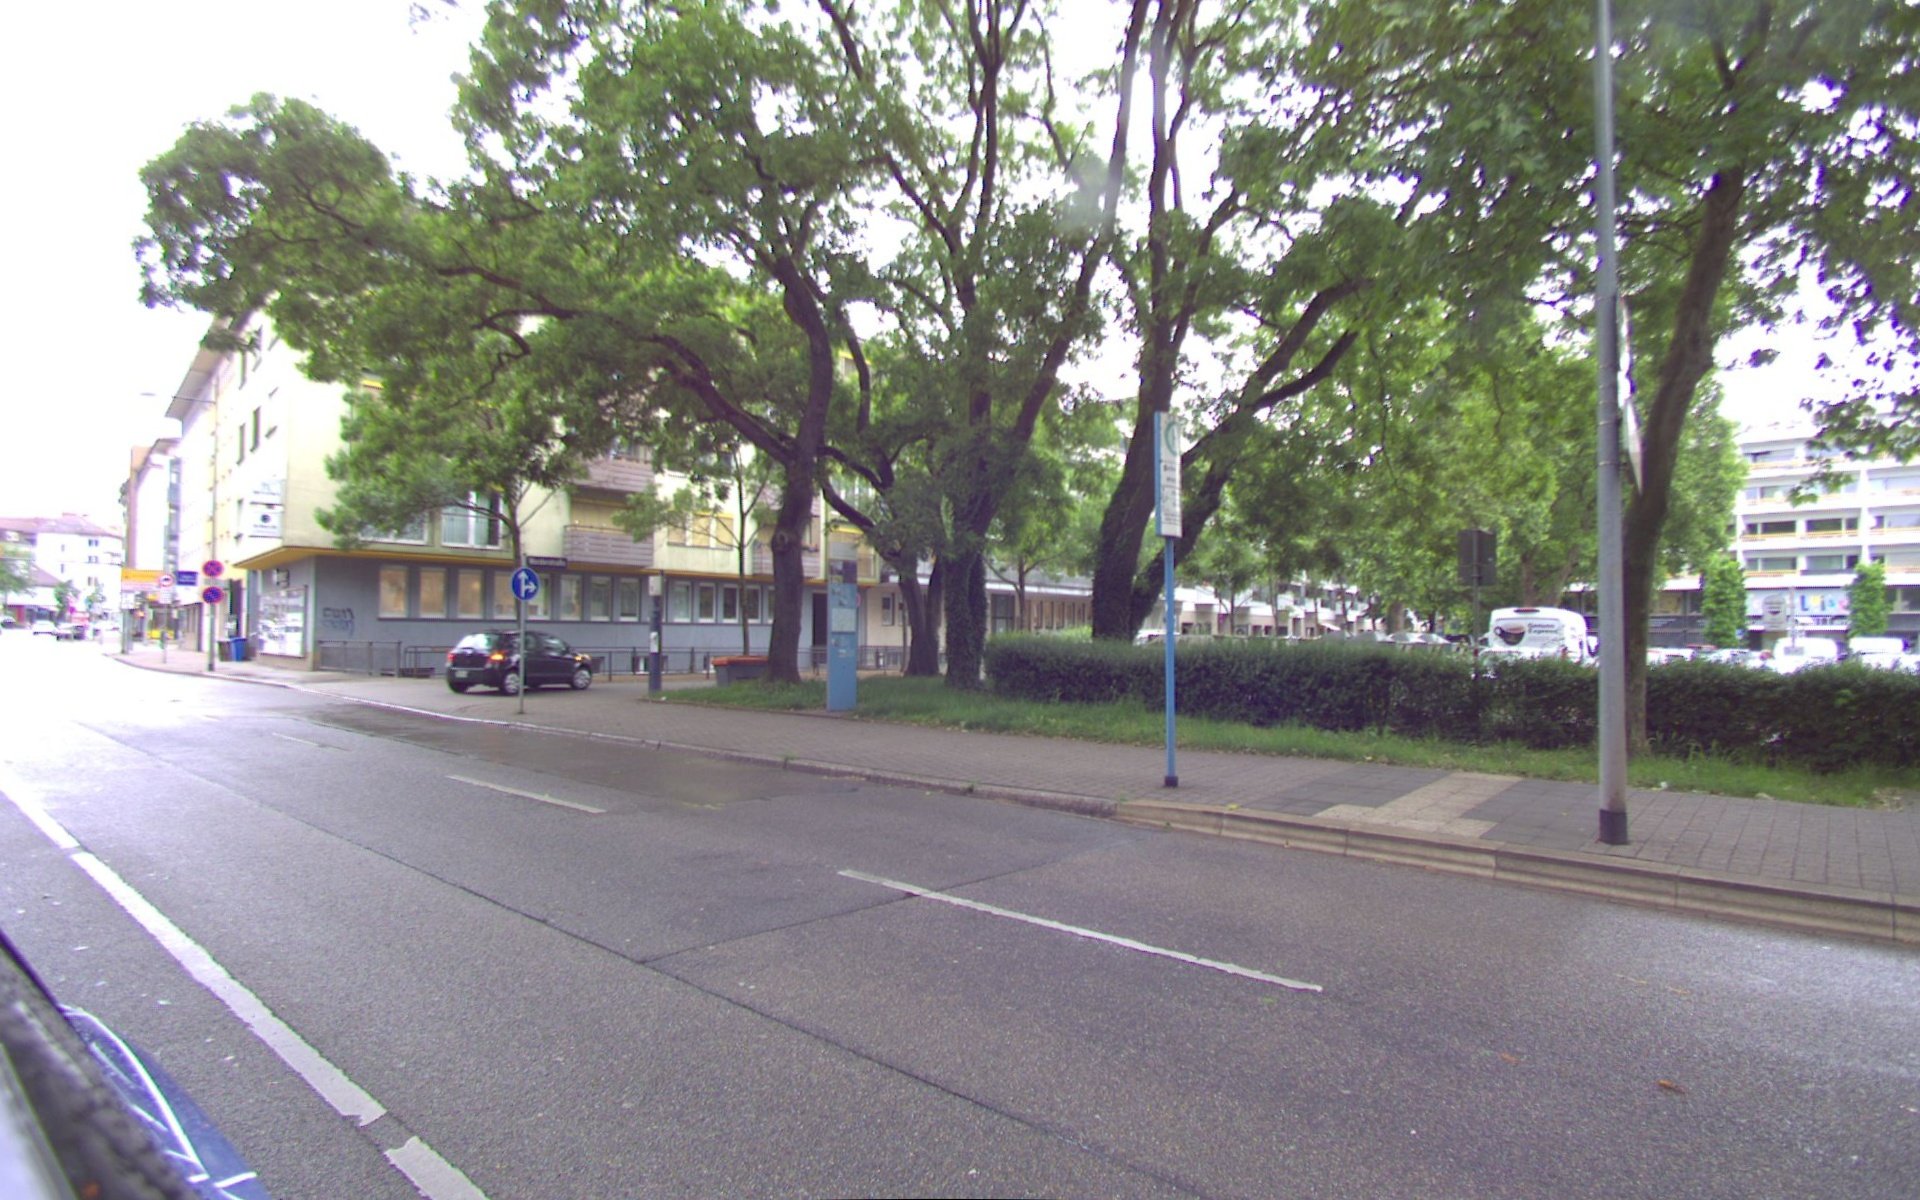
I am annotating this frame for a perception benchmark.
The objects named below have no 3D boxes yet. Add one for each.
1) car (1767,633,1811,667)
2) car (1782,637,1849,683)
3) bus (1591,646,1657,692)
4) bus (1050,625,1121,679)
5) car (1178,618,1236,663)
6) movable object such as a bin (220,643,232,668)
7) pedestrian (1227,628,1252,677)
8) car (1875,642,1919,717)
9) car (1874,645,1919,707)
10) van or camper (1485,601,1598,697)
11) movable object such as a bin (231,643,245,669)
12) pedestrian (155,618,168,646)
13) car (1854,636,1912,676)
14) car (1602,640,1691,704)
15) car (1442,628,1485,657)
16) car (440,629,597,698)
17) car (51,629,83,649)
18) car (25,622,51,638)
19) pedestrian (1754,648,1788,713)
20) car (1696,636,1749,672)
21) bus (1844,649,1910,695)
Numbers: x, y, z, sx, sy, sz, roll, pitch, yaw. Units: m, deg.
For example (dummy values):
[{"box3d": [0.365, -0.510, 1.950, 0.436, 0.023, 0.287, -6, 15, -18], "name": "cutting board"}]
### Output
[{"box3d": [41.981, 2.493, 51.305, 1.639, 1.536, 3.161, -1, 0, 38], "name": "car"}, {"box3d": [28.170, 1.957, 33.355, 1.604, 1.439, 3.275, -1, -3, 40], "name": "car"}, {"box3d": [24.151, 2.478, 36.768, 1.604, 1.551, 3.385, -1, -3, 40], "name": "bus"}, {"box3d": [4.833, 1.975, 38.690, 1.703, 1.939, 3.697, 0, -3, 24], "name": "bus"}, {"box3d": [11.735, 1.958, 47.933, 1.988, 2.029, 3.967, 0, -3, 24], "name": "car"}, {"box3d": [-30.238, 2.274, 41.669, 0.333, 1.037, 0.354, 3, -4, -42], "name": "movable object such as a bin"}, {"box3d": [7.146, 1.328, 25.865, 0.484, 1.222, 0.433, -1, 0, 34], "name": "pedestrian"}, {"box3d": [19.925, 1.630, 20.947, 1.391, 1.446, 3.227, -2, -4, 41], "name": "car"}, {"box3d": [23.412, 1.849, 24.810, 1.391, 1.446, 3.227, -2, -4, 41], "name": "car"}, {"box3d": [16.843, 1.406, 29.216, 2.097, 2.556, 4.367, -1, -3, 40], "name": "van or camper"}, {"box3d": [-29.886, 2.321, 41.895, 0.409, 1.037, 0.354, 3, -4, -42], "name": "movable object such as a bin"}, {"box3d": [-54.079, 2.185, 68.571, 0.586, 1.858, 0.565, 3, -4, -42], "name": "pedestrian"}, {"box3d": [40.436, 2.415, 44.412, 1.639, 1.536, 3.161, -1, 0, 38], "name": "car"}, {"box3d": [16.729, 1.727, 24.624, 1.391, 1.446, 3.227, -2, -4, 41], "name": "car"}, {"box3d": [27.167, 2.283, 54.571, 1.428, 1.439, 2.926, -2, -1, 40], "name": "car"}, {"box3d": [-10.500, 1.509, 24.341, 1.558, 1.500, 3.548, 1, -3, 15], "name": "car"}, {"box3d": [-81.981, 3.590, 92.915, 4.002, 1.730, 1.863, -2, -4, 45], "name": "car"}, {"box3d": [-99.873, 3.301, 109.635, 4.002, 1.670, 1.842, -2, -4, 45], "name": "car"}, {"box3d": [15.774, 1.562, 19.690, 0.465, 1.222, 0.433, -1, 0, 34], "name": "pedestrian"}, {"box3d": [35.716, 2.477, 47.367, 1.837, 1.435, 3.780, -1, 0, 39], "name": "car"}, {"box3d": [33.153, 2.567, 36.661, 1.604, 1.551, 3.385, -1, -3, 40], "name": "bus"}]
